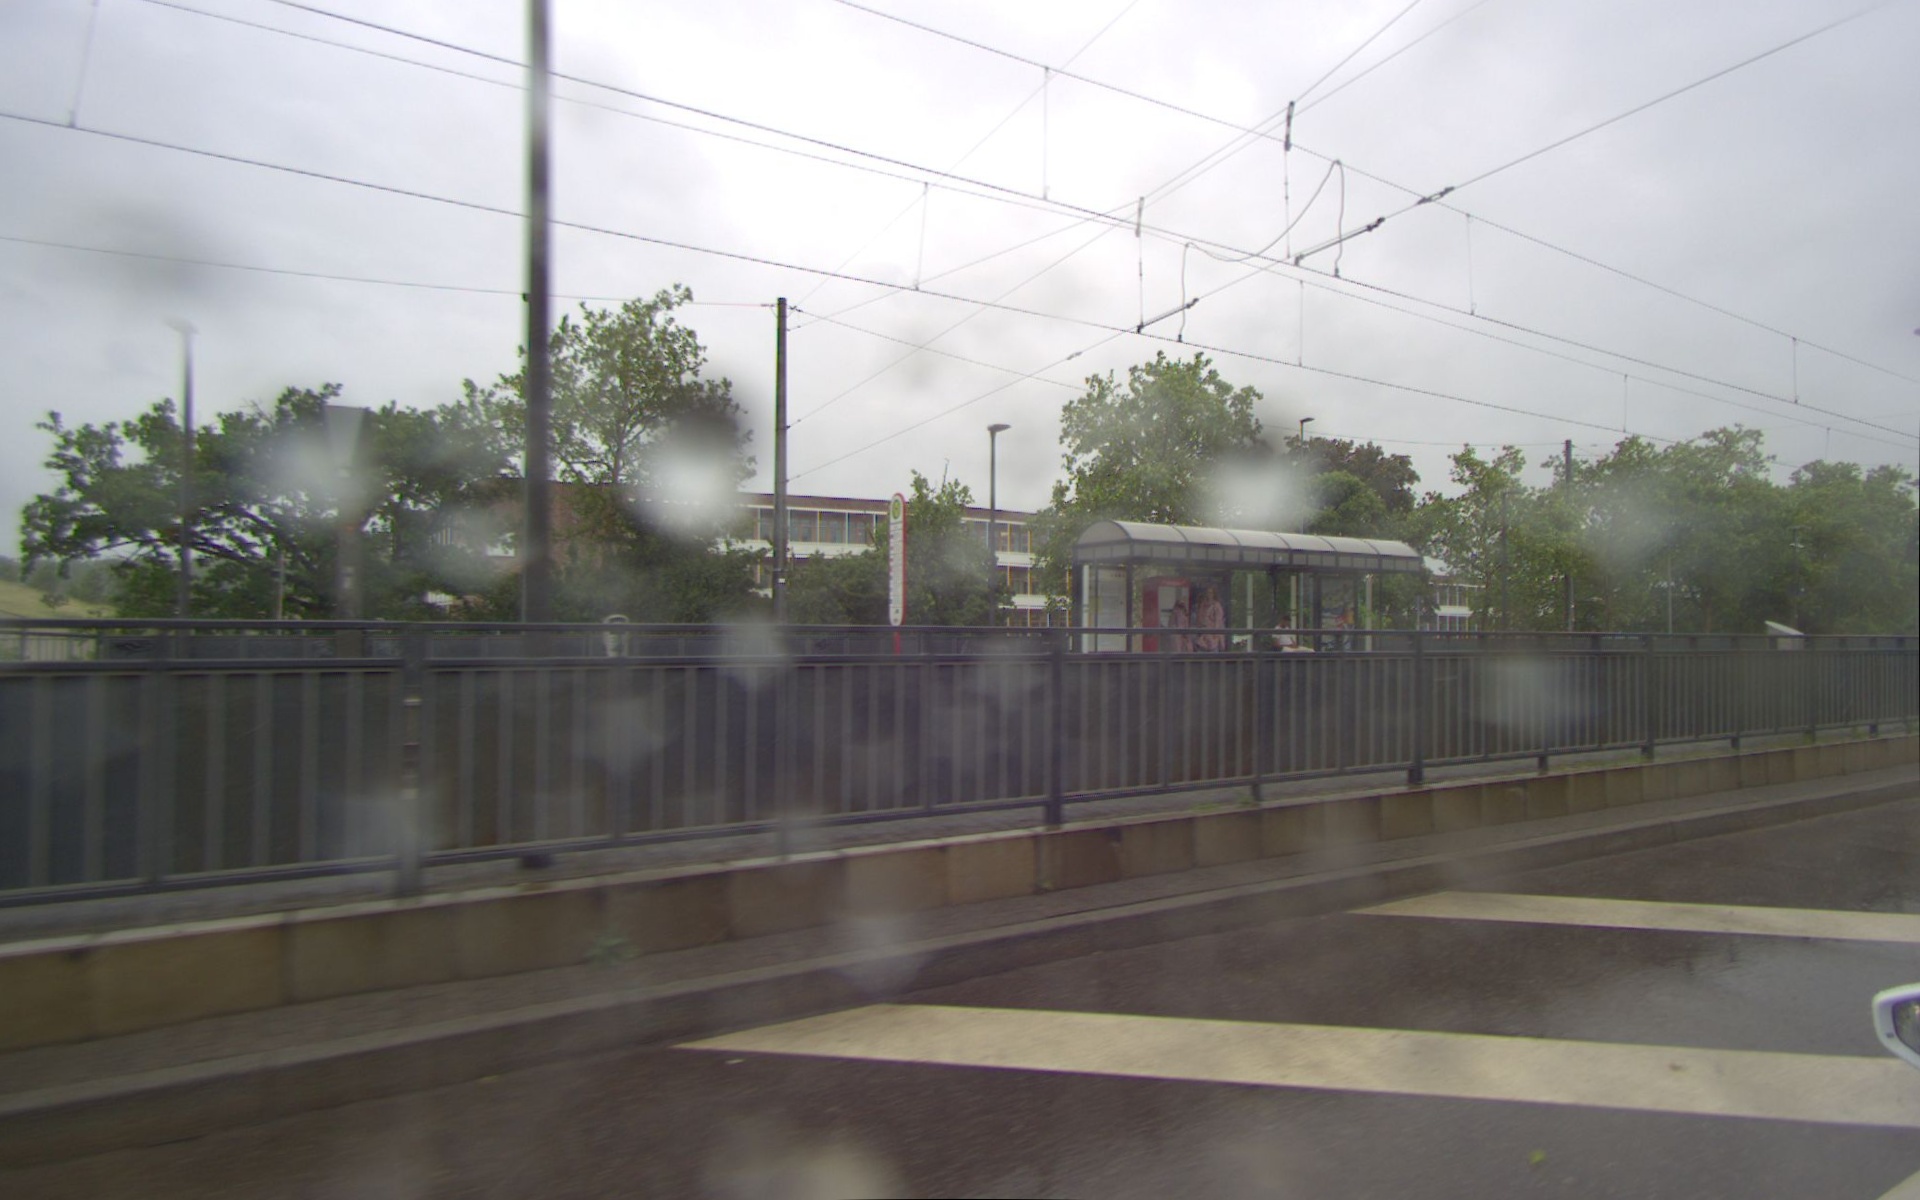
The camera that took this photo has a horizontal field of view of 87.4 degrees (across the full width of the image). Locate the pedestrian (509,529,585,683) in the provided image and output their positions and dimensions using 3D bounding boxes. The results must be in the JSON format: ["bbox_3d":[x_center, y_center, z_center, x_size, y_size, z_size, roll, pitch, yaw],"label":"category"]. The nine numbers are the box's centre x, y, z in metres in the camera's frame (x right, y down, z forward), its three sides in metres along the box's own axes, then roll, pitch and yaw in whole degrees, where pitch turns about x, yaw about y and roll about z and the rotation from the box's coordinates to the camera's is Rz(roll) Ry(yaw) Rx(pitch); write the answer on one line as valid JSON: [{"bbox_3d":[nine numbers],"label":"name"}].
[{"bbox_3d":[-11.248,0.164,27.411,1.490,4.082,1.172,1,-1,-2],"label":"pedestrian"}]

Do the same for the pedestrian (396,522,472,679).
[{"bbox_3d":[-14.145,0.037,27.027,1.507,4.082,1.159,2,-1,-41],"label":"pedestrian"}]

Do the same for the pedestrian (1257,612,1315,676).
[{"bbox_3d":[7.094,0.949,21.876,0.847,1.334,0.827,1,0,-29],"label":"pedestrian"}]
